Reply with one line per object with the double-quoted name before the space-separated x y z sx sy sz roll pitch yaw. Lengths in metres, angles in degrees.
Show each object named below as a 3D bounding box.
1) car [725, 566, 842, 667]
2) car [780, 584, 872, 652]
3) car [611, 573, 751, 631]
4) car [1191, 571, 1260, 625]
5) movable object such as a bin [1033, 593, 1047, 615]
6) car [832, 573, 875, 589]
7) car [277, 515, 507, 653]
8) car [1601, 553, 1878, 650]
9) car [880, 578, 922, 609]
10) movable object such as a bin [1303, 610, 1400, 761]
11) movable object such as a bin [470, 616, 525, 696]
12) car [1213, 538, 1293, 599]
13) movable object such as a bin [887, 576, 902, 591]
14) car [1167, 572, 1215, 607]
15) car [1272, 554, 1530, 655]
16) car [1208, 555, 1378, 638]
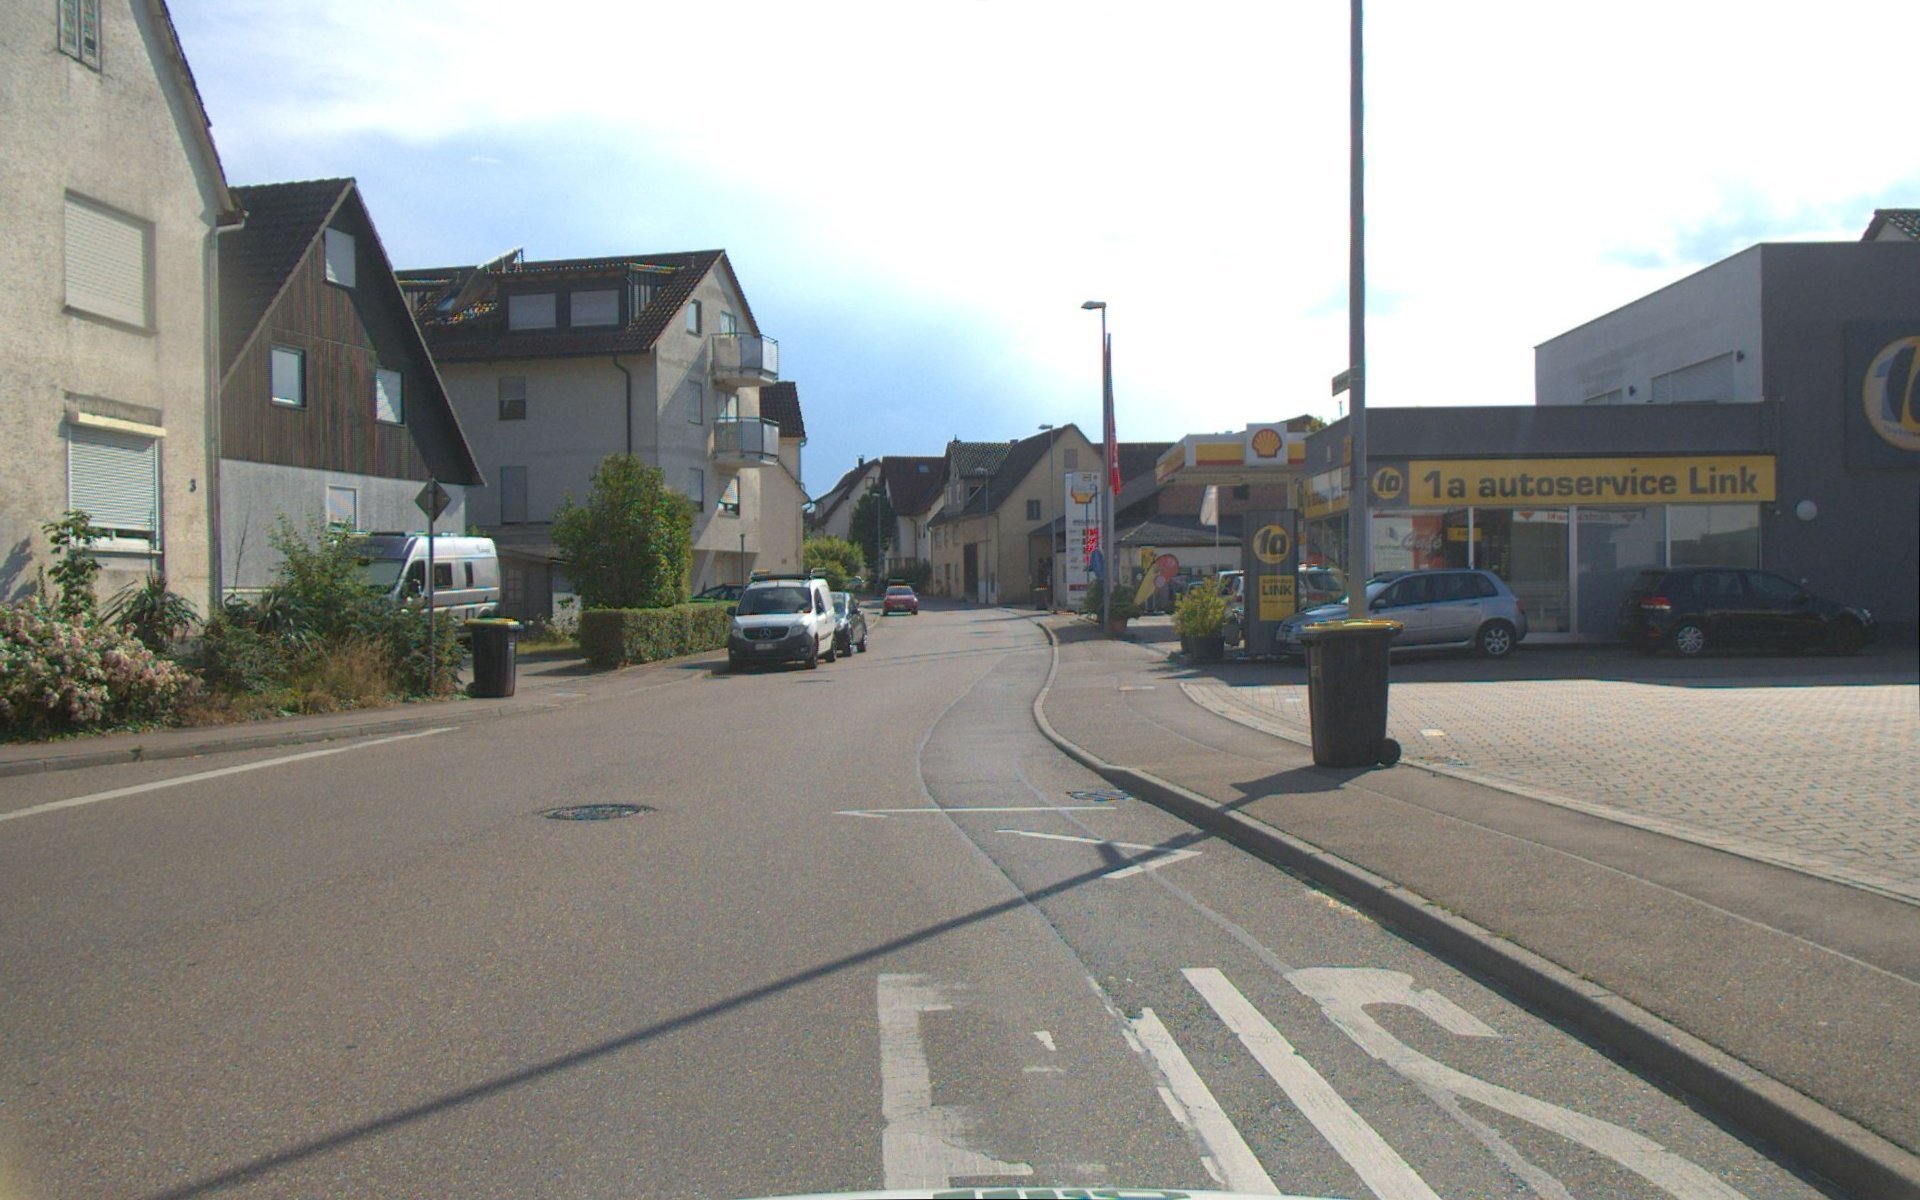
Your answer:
"car" -3.566 0.306 34.113 1.680 1.905 4.194 -2 0 3
"car" -3.148 0.397 39.477 1.638 1.477 3.836 -2 0 3
"car" -8.783 0.052 52.135 3.903 1.565 1.764 4 1 14
"car" 8.390 -0.097 52.604 1.637 1.605 4.000 -2 1 2
"movable object such as a bin" 4.049 0.215 83.986 0.639 1.092 0.513 -1 0 -1
"car" -9.903 -1.759 153.903 3.911 1.376 1.708 -1 0 -7
"car" -11.752 -0.328 34.814 2.112 2.641 6.099 0 1 7
"car" 12.952 -0.003 27.616 3.825 1.493 1.716 -1 2 -2
"car" -3.020 -0.300 84.233 1.677 1.460 3.773 -3 0 -8
"movable object such as a bin" 2.979 0.640 12.628 0.555 1.094 0.572 -2 0 -2
"movable object such as a bin" -6.565 0.793 23.488 0.598 1.120 0.576 0 -1 3
"car" 8.279 -0.893 47.010 1.637 1.605 4.000 -2 1 2
"movable object such as a bin" -5.269 -1.354 133.114 1.139 1.188 0.653 -1 0 -10
"car" 10.129 -0.478 72.856 1.545 1.452 4.381 0 1 0
"car" 7.408 0.064 27.956 3.909 1.558 1.526 -1 0 -5
"car" 7.699 -0.106 38.089 4.041 1.703 1.652 -3 0 -41
